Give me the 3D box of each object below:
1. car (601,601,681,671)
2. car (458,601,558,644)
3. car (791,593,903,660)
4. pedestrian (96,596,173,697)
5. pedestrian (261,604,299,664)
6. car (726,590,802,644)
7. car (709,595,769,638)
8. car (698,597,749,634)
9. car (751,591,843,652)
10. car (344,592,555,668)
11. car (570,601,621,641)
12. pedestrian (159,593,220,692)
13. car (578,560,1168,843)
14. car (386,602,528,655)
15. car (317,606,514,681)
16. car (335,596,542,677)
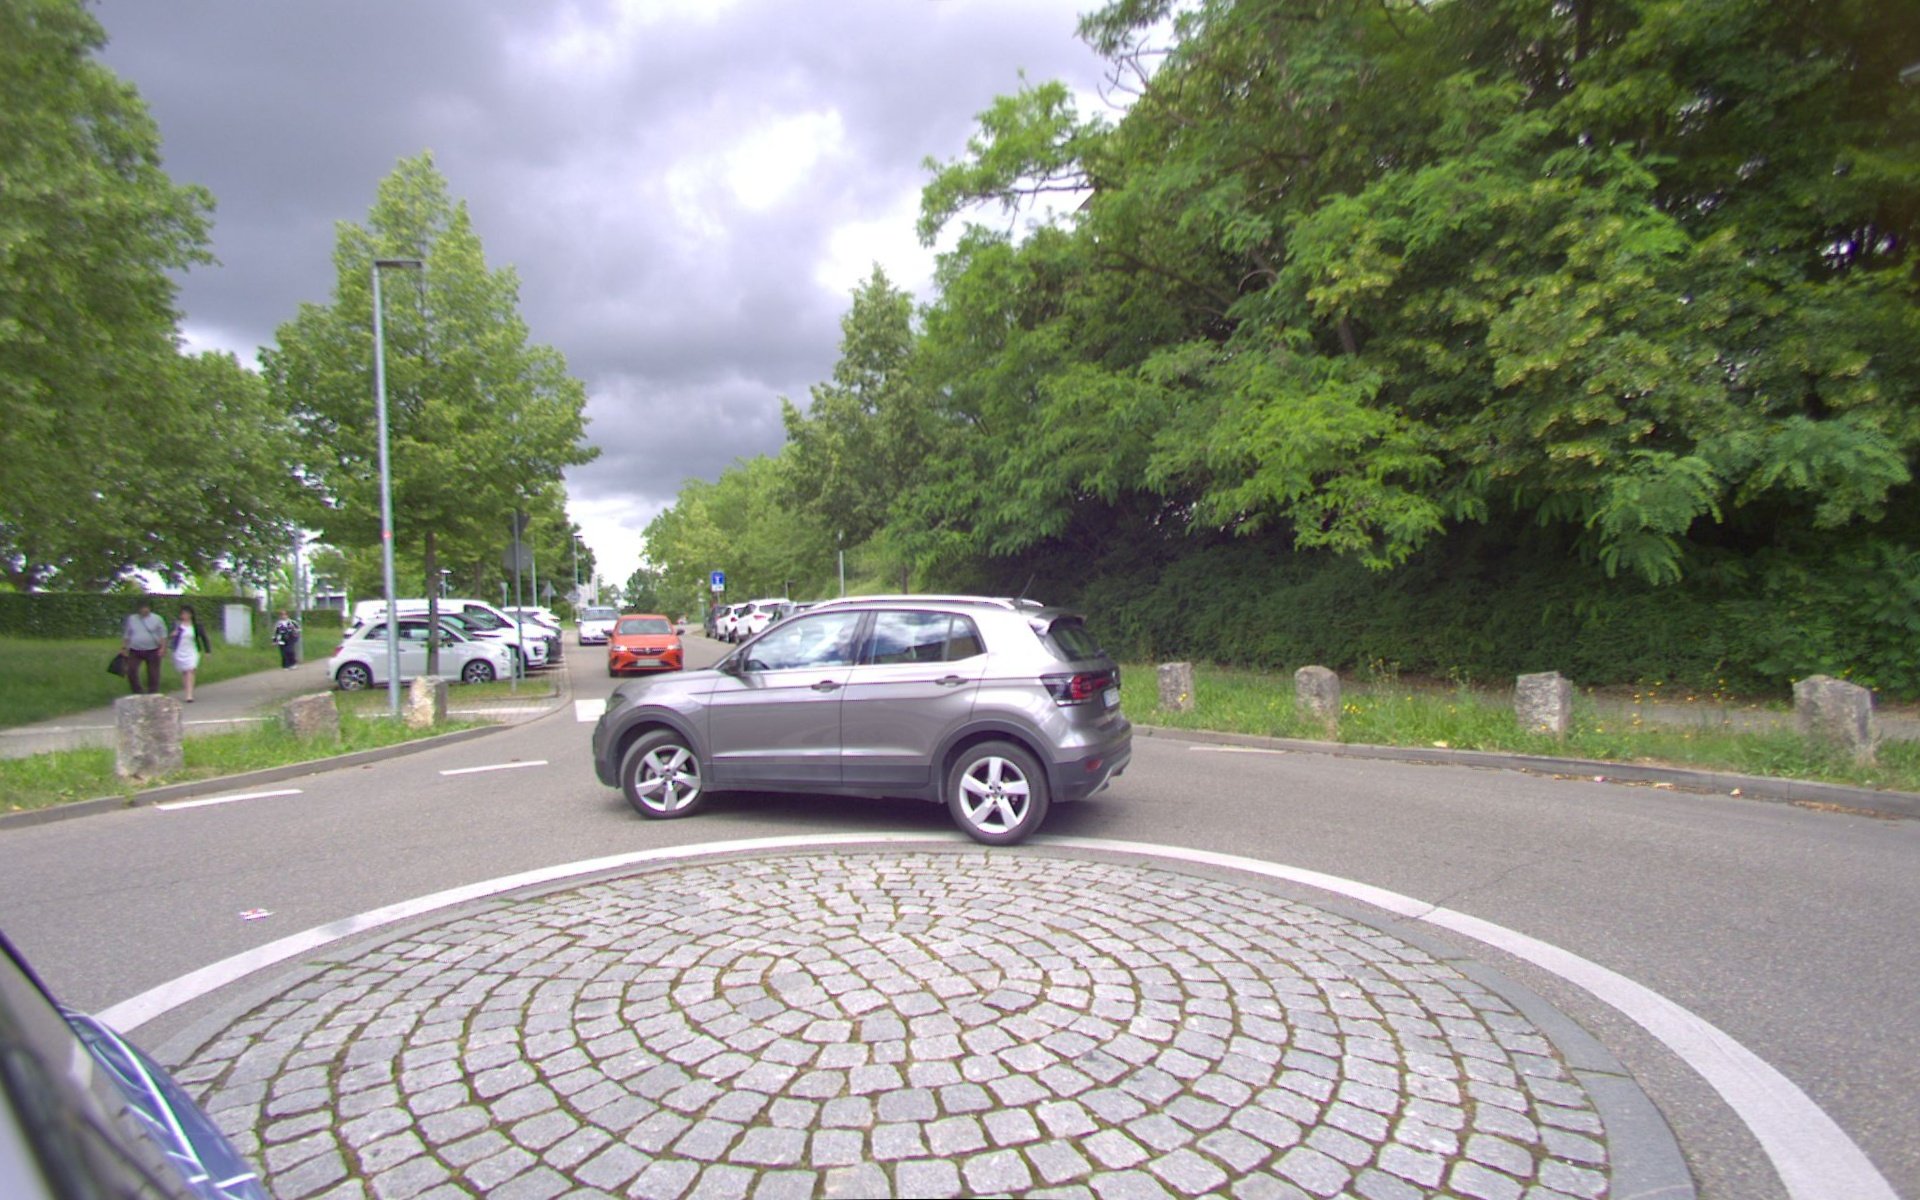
[{"bbox_3d":[-7.969,0.882,25.386,1.730,1.527,4.012,-2,-1,-17],"label":"car"},{"bbox_3d":[-18.543,0.912,41.651,3.618,1.659,1.857,0,-1,-20],"label":"car"},{"bbox_3d":[-3.032,0.664,26.370,1.666,1.476,4.471,-5,1,-22],"label":"car"},{"bbox_3d":[-14.235,0.787,17.473,0.857,1.669,0.595,-2,0,-23],"label":"pedestrian"},{"bbox_3d":[-17.925,0.900,26.698,0.667,1.531,0.708,-2,0,-24],"label":"pedestrian"},{"bbox_3d":[-7.200,0.625,36.808,1.782,1.677,4.451,-5,1,-22],"label":"car"},{"bbox_3d":[-9.196,0.686,41.871,1.666,1.522,4.244,-5,1,-22],"label":"car"},{"bbox_3d":[-11.054,0.728,47.090,1.666,1.498,3.966,-5,1,-21],"label":"car"},{"bbox_3d":[-5.142,0.612,31.429,1.774,1.627,4.493,-5,2,-22],"label":"car"},{"bbox_3d":[-13.005,0.742,26.156,4.706,1.845,1.849,0,-1,-21],"label":"car"},{"bbox_3d":[-15.337,0.888,42.730,1.730,1.527,4.012,-2,0,-17],"label":"car"},{"bbox_3d":[-13.524,0.736,17.779,0.679,1.669,0.602,-2,0,-23],"label":"pedestrian"},{"bbox_3d":[-0.628,0.610,7.402,3.982,1.630,1.710,-1,-1,22],"label":"car"},{"bbox_3d":[-15.282,0.851,30.983,3.770,1.531,1.918,0,-1,-22],"label":"car"},{"bbox_3d":[-11.338,0.885,21.322,3.462,1.472,1.744,1,-1,-22],"label":"car"},{"bbox_3d":[-11.977,0.801,23.546,4.092,1.614,1.744,-2,0,-23],"label":"car"}]
